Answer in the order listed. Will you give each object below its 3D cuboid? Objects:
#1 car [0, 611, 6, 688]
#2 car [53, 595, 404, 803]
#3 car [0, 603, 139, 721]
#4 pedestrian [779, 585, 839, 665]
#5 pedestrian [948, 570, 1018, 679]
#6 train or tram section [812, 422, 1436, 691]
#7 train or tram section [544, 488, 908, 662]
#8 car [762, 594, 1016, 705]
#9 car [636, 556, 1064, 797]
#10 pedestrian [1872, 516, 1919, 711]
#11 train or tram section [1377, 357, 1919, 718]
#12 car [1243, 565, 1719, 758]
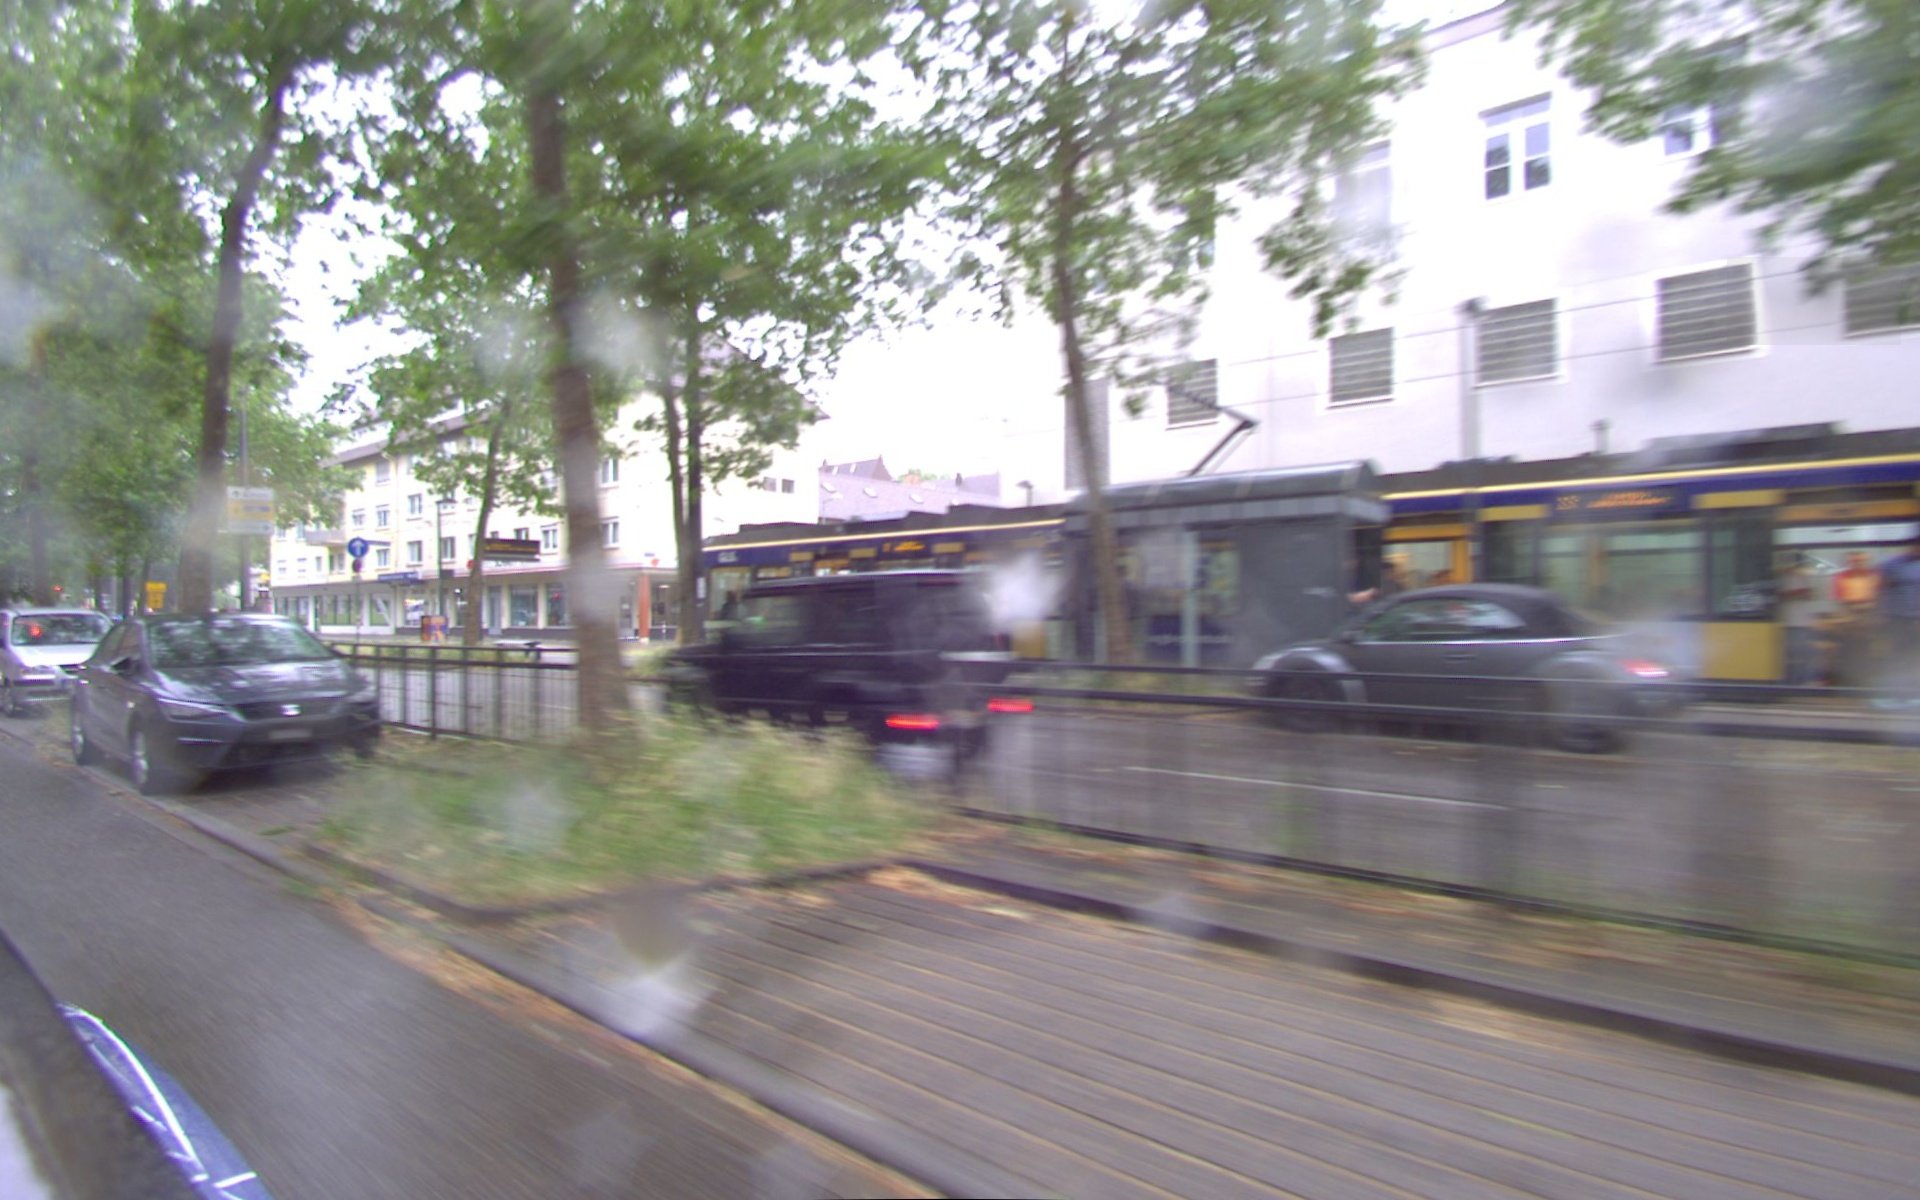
[{"bbox_3d":[-21.457,1.046,21.552,1.641,1.588,3.425,0,-1,-44],"label":"car"},{"bbox_3d":[-6.806,0.743,9.262,4.003,1.493,1.710,-1,-1,40],"label":"car"},{"bbox_3d":[-13.854,0.874,15.395,3.325,1.588,1.552,-1,-1,40],"label":"car"},{"bbox_3d":[-3.125,0.513,20.902,0.962,1.607,0.806,-1,-1,43],"label":"pedestrian"},{"bbox_3d":[0.381,0.400,17.143,0.945,1.797,0.820,0,-1,-19],"label":"pedestrian"},{"bbox_3d":[2.209,-0.579,18.668,11.544,3.669,2.870,-1,0,41],"label":"train or tram section"},{"bbox_3d":[-6.535,-0.503,26.197,11.544,3.669,2.870,-1,0,41],"label":"train or tram section"},{"bbox_3d":[-1.148,0.691,15.442,3.702,1.395,1.656,-1,3,40],"label":"car"},{"bbox_3d":[-1.072,0.559,8.849,3.646,1.675,1.655,-1,-1,40],"label":"car"},{"bbox_3d":[9.407,0.128,9.932,0.635,1.869,0.654,-1,-1,41],"label":"pedestrian"},{"bbox_3d":[10.996,-0.656,11.107,11.544,3.669,2.870,-1,0,41],"label":"train or tram section"},{"bbox_3d":[5.090,0.513,10.164,3.970,1.520,1.656,-1,3,40],"label":"car"}]
